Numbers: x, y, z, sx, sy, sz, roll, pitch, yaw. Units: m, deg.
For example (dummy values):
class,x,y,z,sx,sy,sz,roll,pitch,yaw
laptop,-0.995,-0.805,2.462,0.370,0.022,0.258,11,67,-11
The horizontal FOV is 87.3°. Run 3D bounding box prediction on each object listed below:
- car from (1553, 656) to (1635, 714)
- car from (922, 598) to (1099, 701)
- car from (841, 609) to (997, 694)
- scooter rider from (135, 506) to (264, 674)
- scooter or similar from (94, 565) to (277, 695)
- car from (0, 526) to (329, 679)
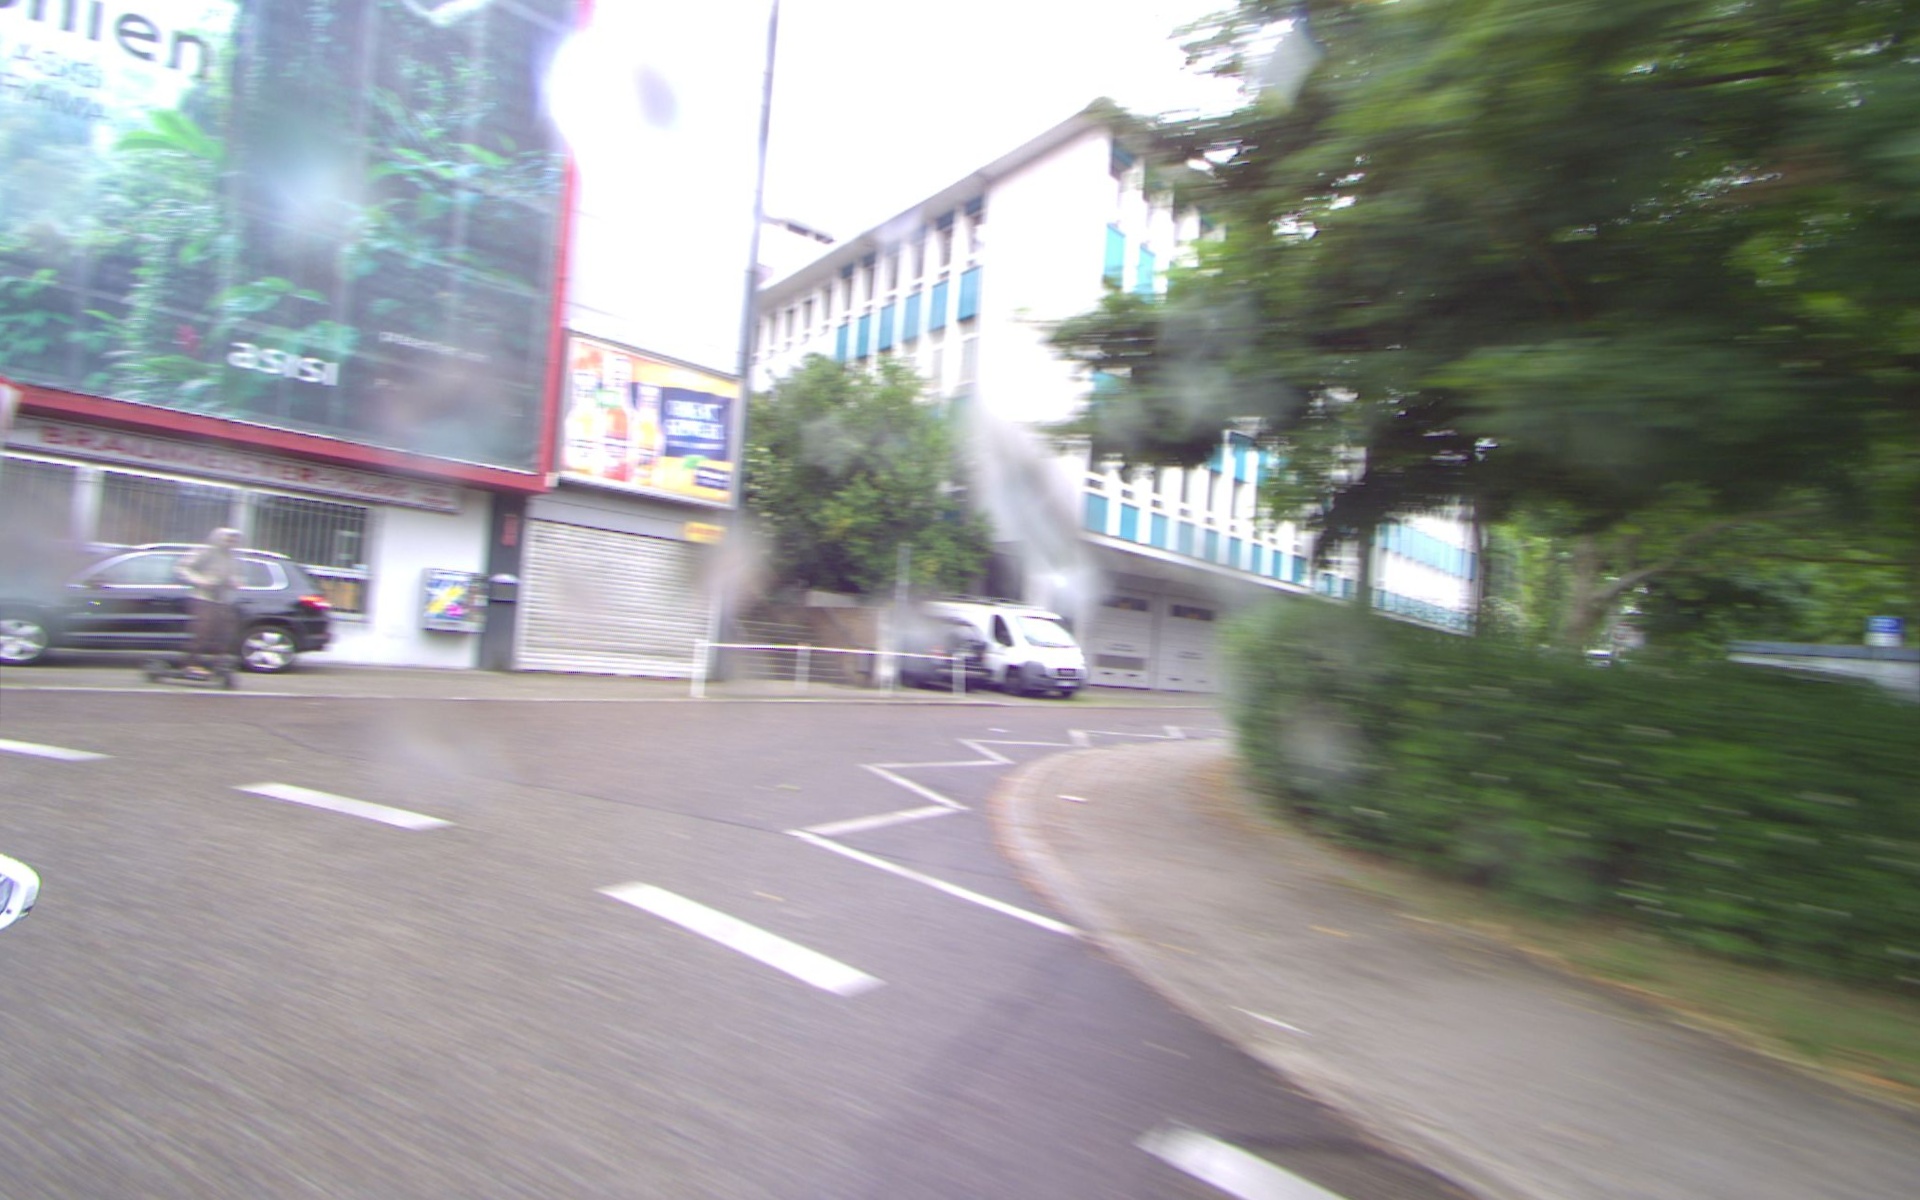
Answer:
class,x,y,z,sx,sy,sz,roll,pitch,yaw
car,25.581,3.446,40.559,1.886,2.100,3.976,3,-2,45
car,1.194,1.226,26.312,1.866,2.239,4.846,5,-1,-36
car,-1.093,1.226,24.866,1.866,1.714,3.962,5,-1,-36
scooter rider,-8.954,-0.101,11.883,0.768,1.843,0.804,6,0,-6
scooter or similar,-9.096,0.351,11.868,1.383,1.339,0.804,6,0,-6
car,-11.112,0.048,13.684,3.969,1.732,1.911,6,-1,-41
